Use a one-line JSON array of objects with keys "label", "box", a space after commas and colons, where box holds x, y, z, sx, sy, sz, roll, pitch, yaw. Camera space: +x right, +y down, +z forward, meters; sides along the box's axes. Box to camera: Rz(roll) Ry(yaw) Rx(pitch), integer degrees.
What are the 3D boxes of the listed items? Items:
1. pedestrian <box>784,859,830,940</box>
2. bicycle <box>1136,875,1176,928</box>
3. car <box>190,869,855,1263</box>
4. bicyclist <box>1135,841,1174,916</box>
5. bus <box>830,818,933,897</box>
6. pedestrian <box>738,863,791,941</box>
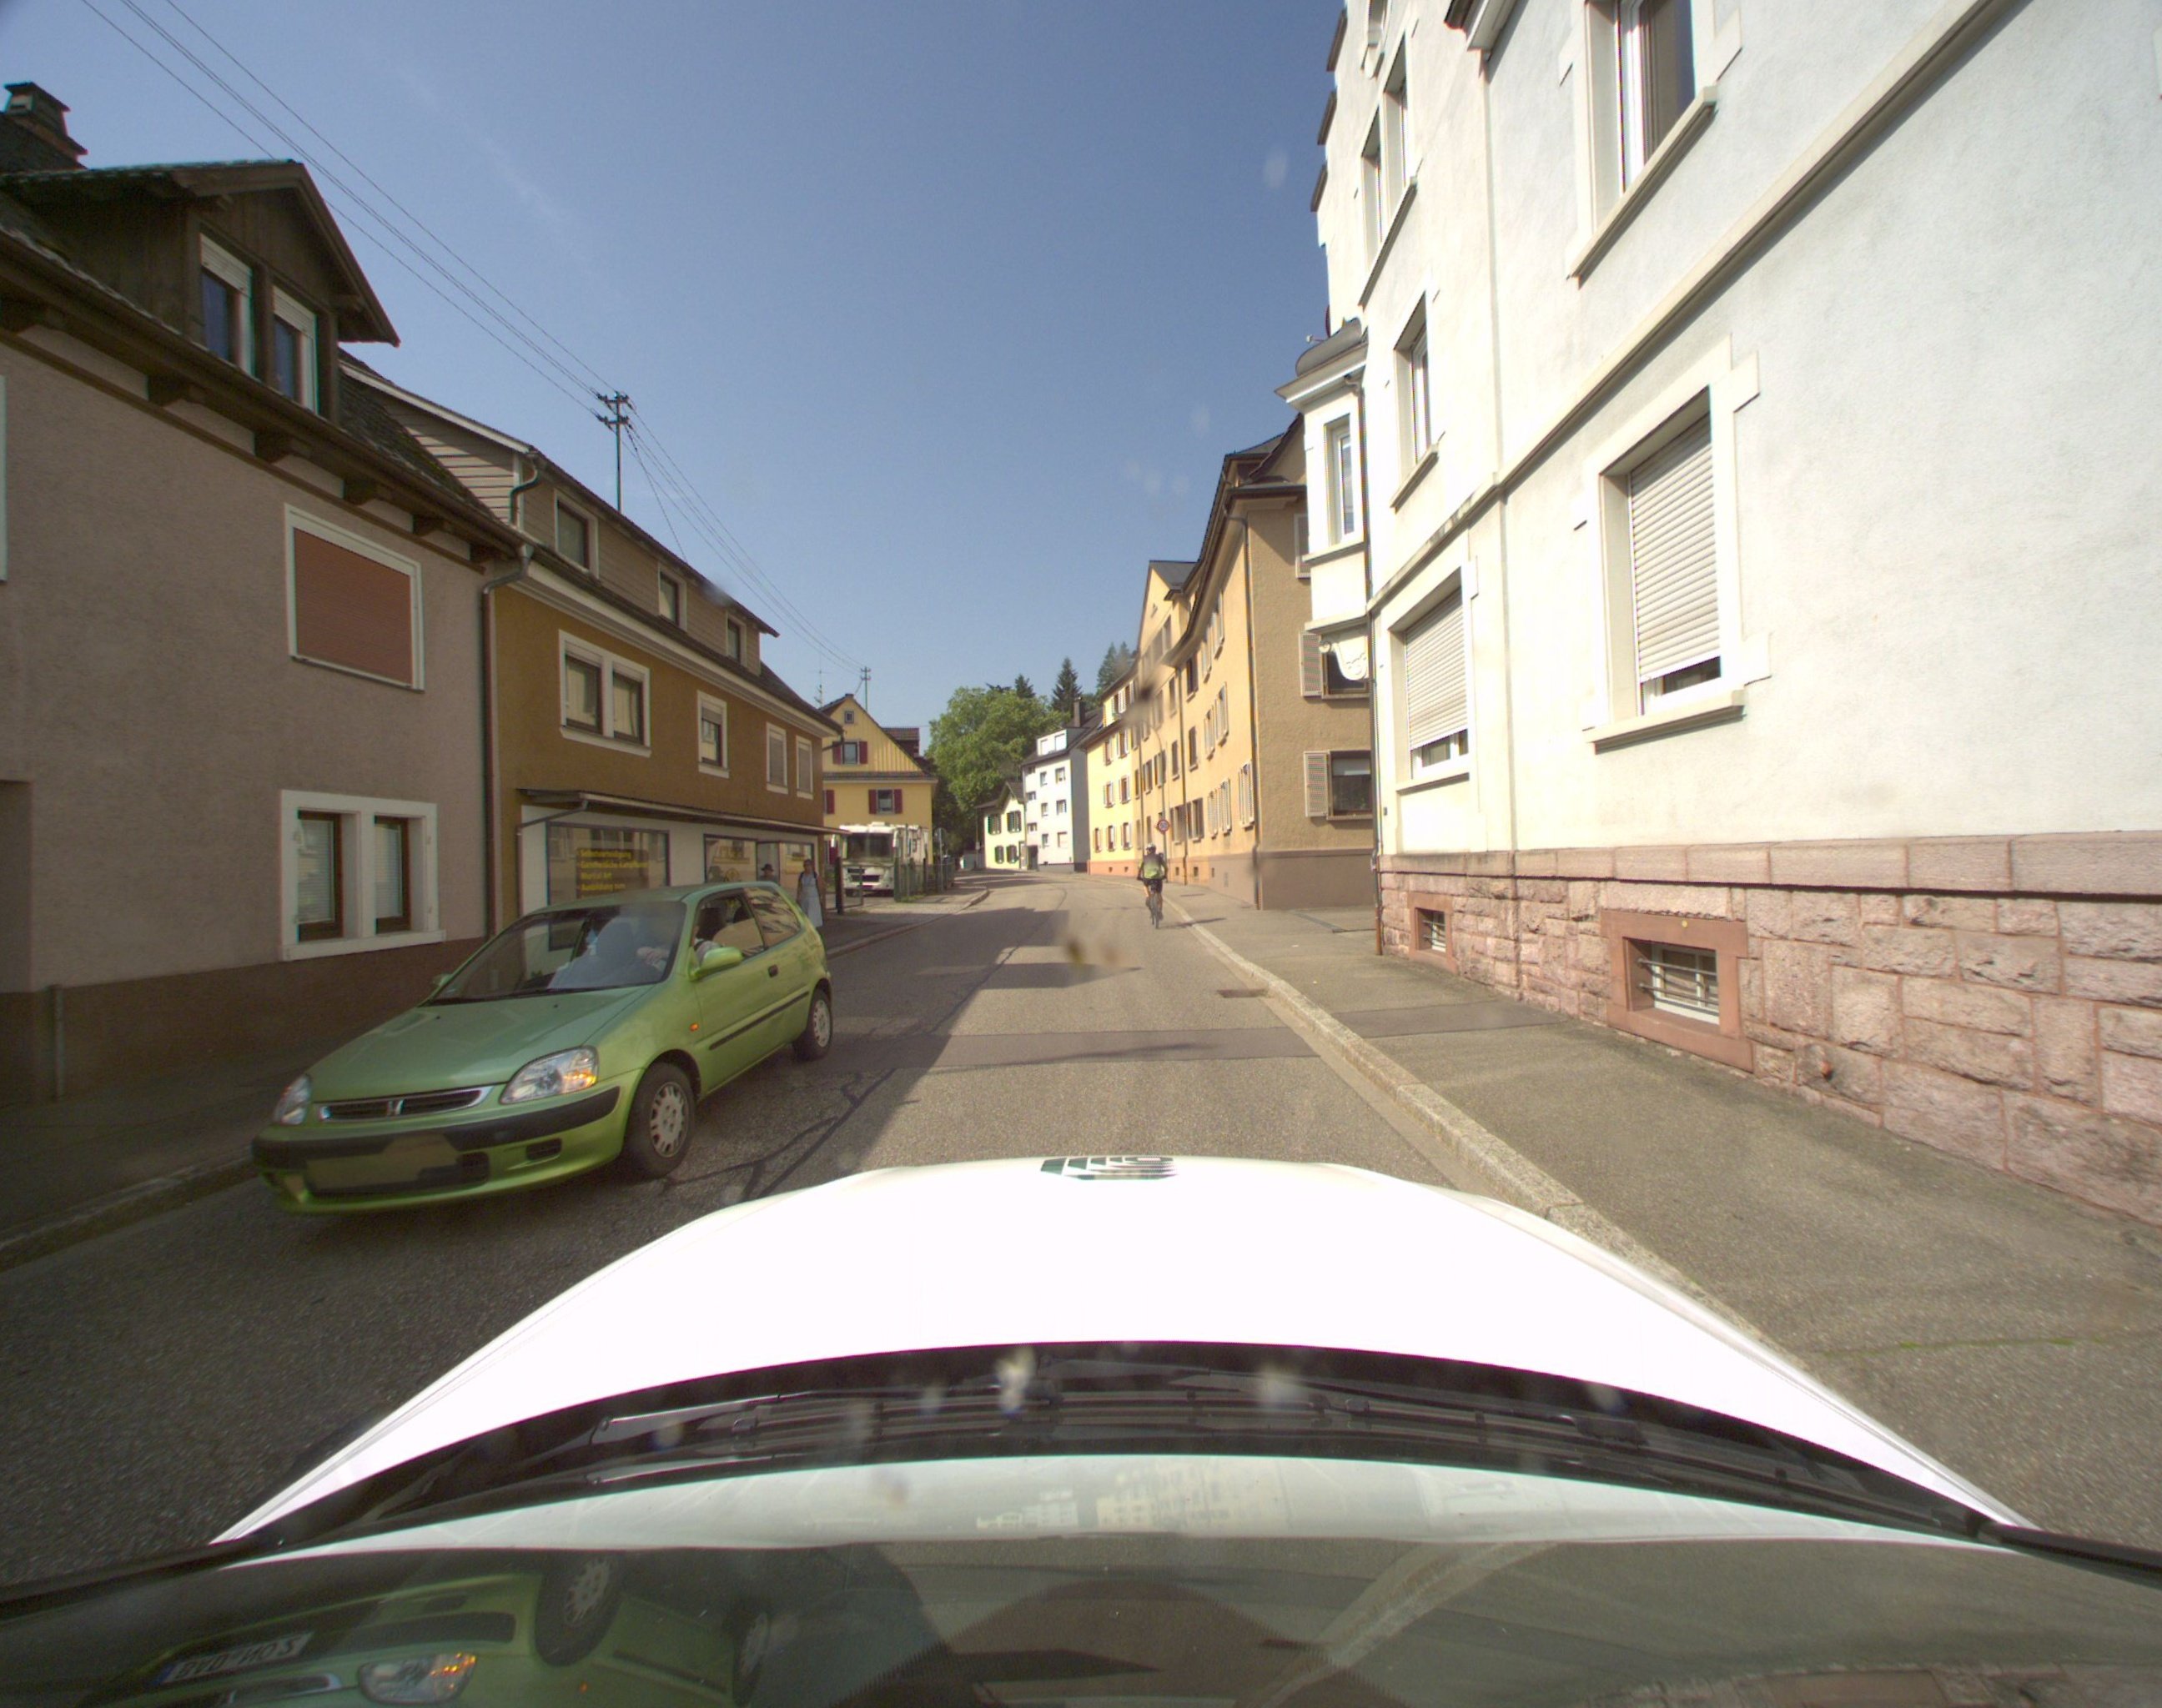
[{"label": "pedestrian", "box": [-5.687, 0.930, 16.943, 0.637, 1.626, 0.777, 1, 0, 1]}, {"label": "bicycle", "box": [1.573, 0.985, 17.367, 0.696, 1.035, 1.471, -1, 0, 0]}, {"label": "car", "box": [-2.849, 0.918, 5.237, 1.591, 1.464, 3.660, -5, 0, 1]}, {"label": "bicyclist", "box": [1.550, 0.517, 17.316, 0.683, 1.531, 0.715, -3, -1, -1]}, {"label": "bus", "box": [-8.989, 0.163, 37.856, 2.813, 3.228, 9.029, 0, 0, -2]}, {"label": "pedestrian", "box": [-6.594, 0.991, 16.995, 0.732, 1.564, 0.825, 1, 0, 1]}]
